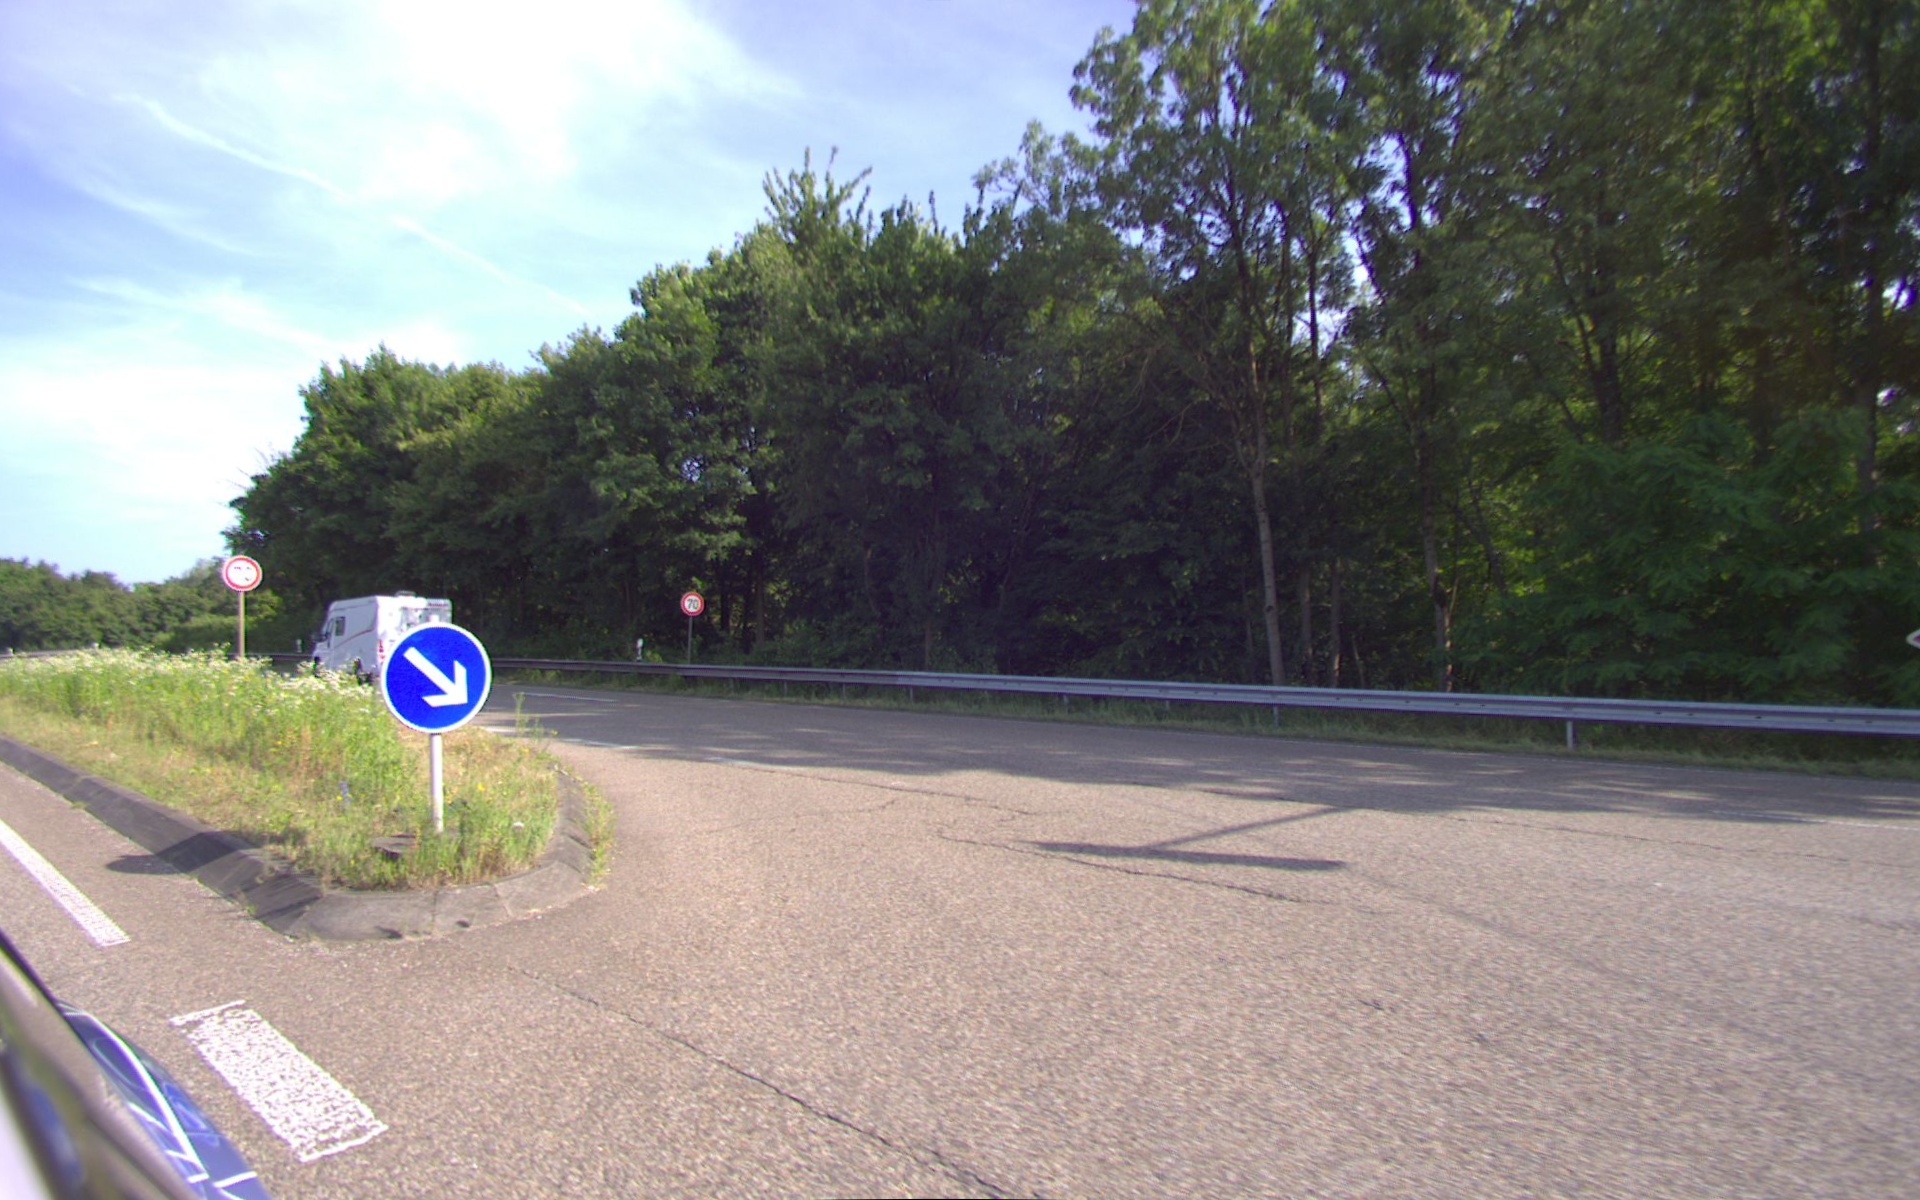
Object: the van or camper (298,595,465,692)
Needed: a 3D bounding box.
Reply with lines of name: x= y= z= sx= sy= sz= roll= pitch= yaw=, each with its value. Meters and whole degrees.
van or camper: x=-18.033 y=1.374 z=31.375 sx=6.432 sy=2.732 sz=2.388 roll=-2 pitch=-4 yaw=40
